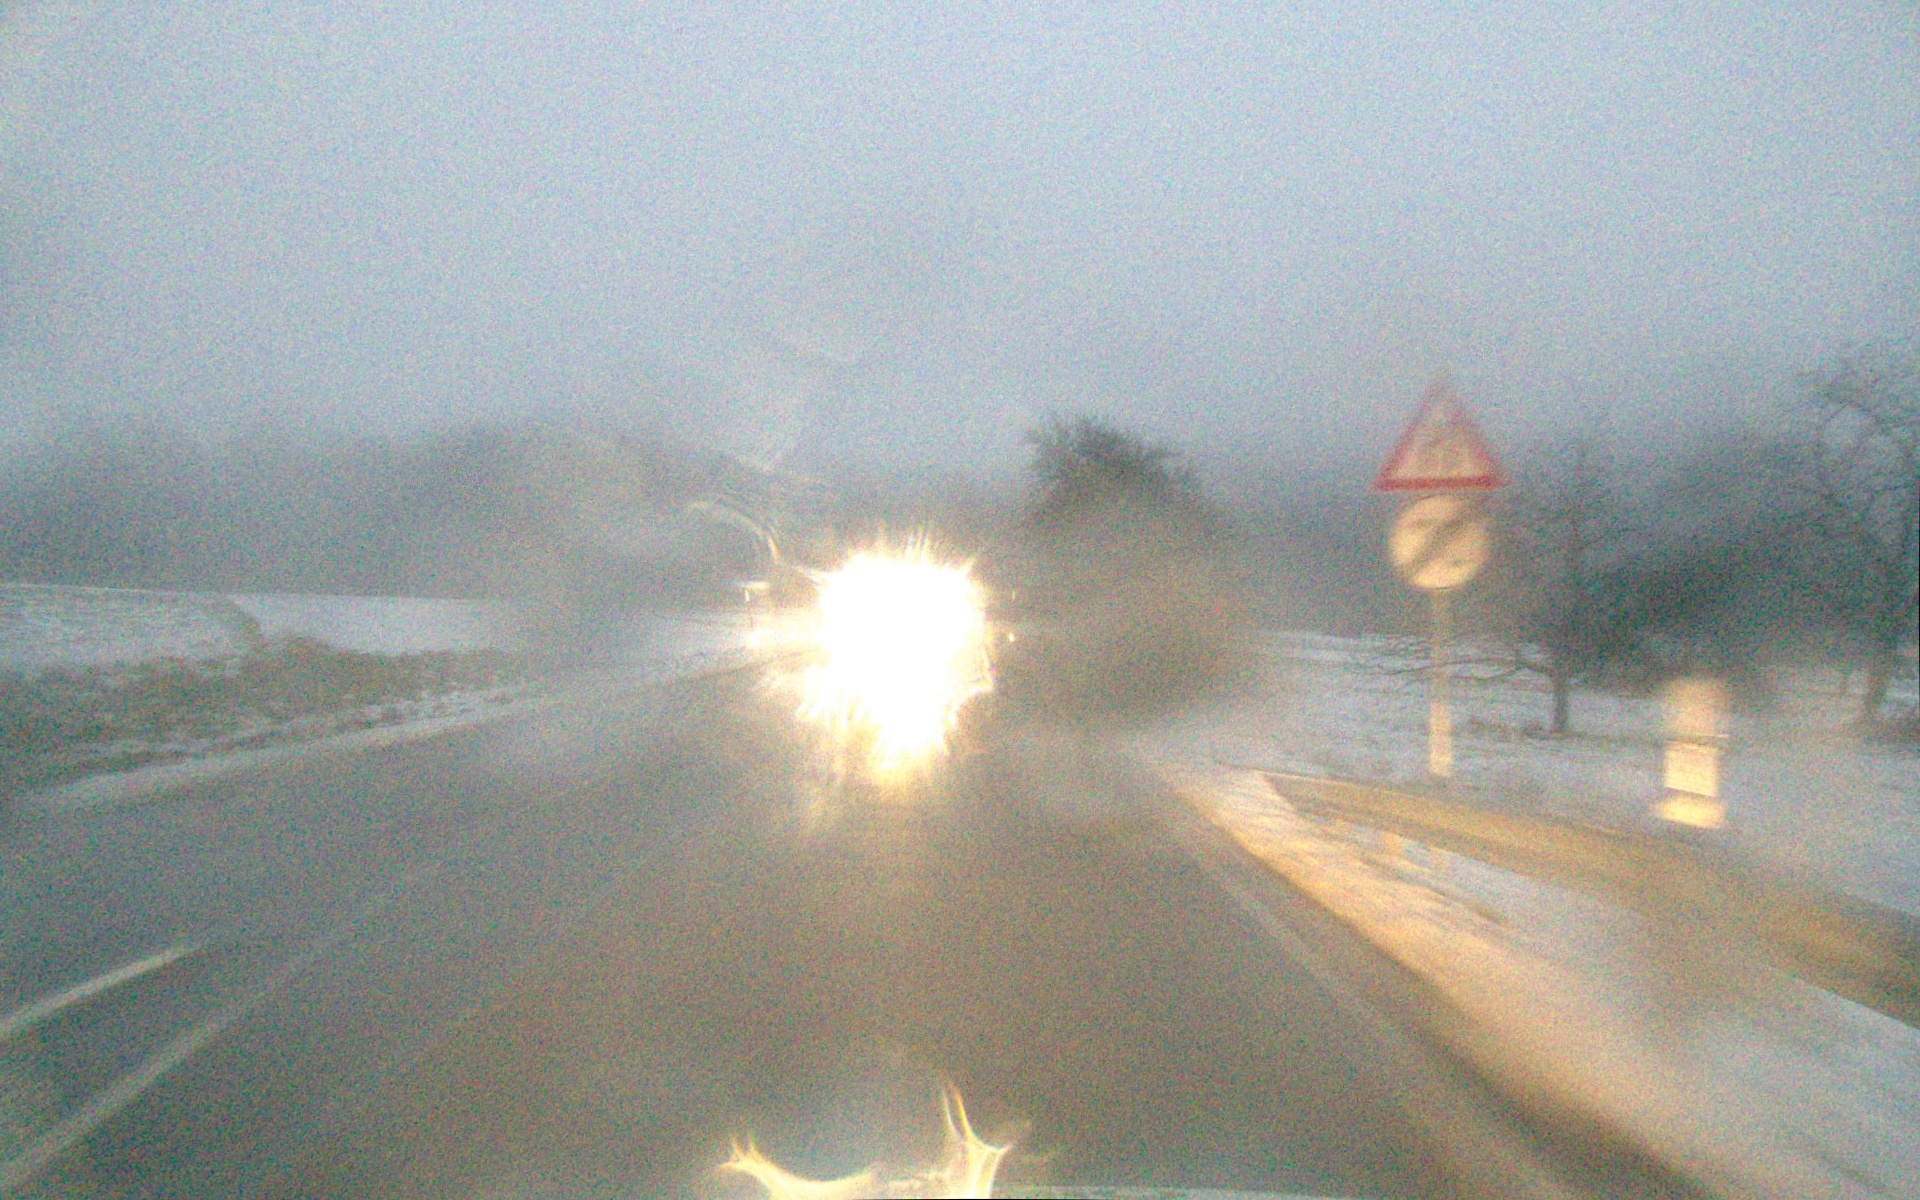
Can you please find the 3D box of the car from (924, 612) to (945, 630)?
[{"bbox_3d":[-2.352,1.984,154.740,1.657,1.579,3.857,1,1,3],"label":"car"}]
